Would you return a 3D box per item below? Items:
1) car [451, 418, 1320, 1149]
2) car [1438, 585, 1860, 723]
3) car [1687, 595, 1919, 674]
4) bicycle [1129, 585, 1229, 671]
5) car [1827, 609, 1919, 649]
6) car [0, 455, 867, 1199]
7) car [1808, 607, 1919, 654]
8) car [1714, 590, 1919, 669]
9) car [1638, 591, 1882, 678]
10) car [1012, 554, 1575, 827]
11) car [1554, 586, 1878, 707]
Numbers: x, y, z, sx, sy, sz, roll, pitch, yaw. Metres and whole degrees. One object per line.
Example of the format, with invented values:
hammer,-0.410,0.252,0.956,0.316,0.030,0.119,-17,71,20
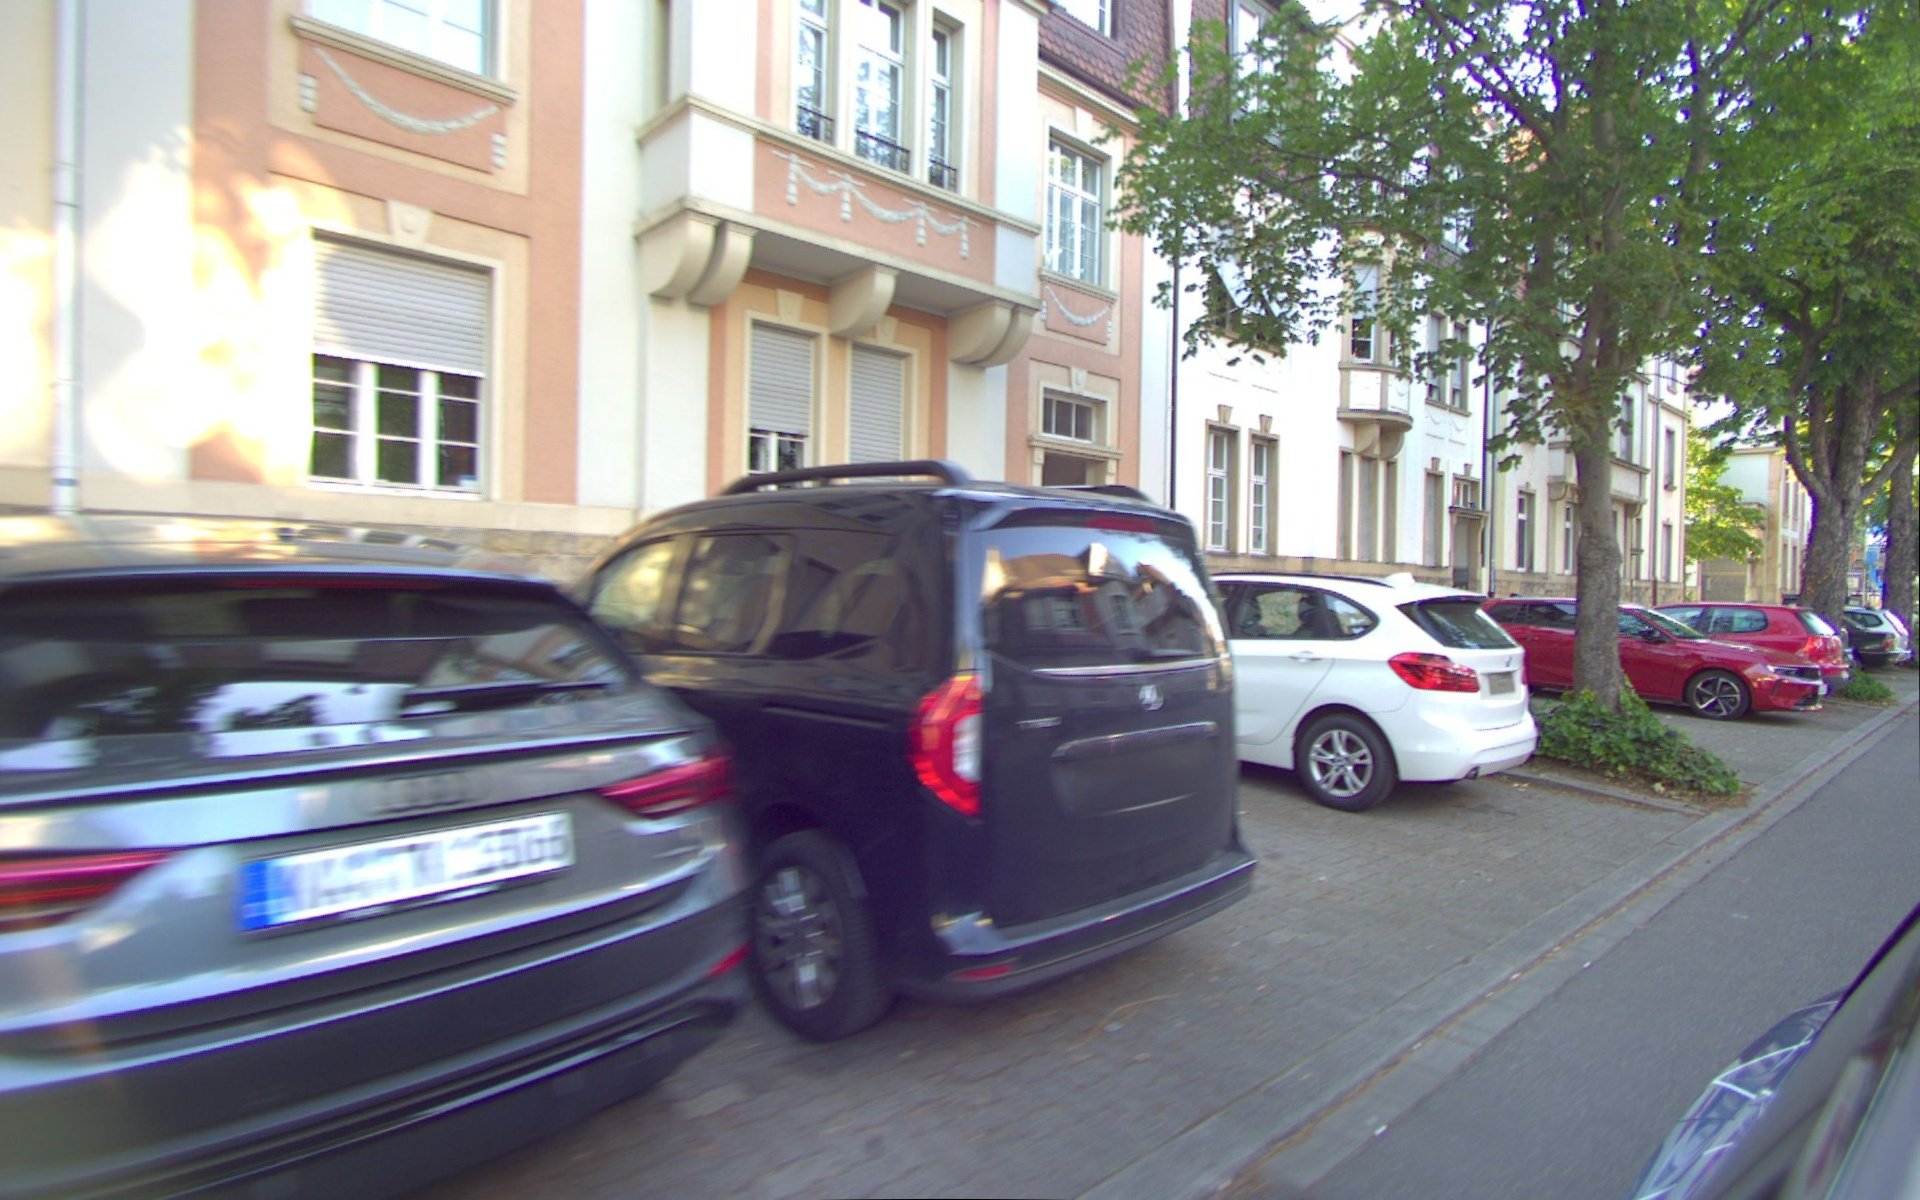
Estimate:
car,-0.727,0.378,4.698,1.814,1.860,4.115,0,2,-43
car,9.417,0.613,14.195,1.834,1.470,4.532,1,2,-39
car,18.423,0.690,22.247,1.548,1.416,3.680,0,2,-40
bicycle,3.251,0.395,14.980,1.449,1.173,0.694,1,3,-42
car,28.599,0.903,30.591,1.515,1.076,3.399,0,2,-40
car,-2.457,0.488,3.201,4.511,1.542,1.815,4,2,45
car,26.230,0.867,28.463,1.515,1.164,3.399,0,2,-40
car,20.311,0.631,23.944,1.548,1.577,3.680,1,2,-40
car,16.347,0.637,20.814,1.548,1.484,3.680,1,2,-40
car,2.418,0.480,8.113,1.689,1.597,3.947,0,2,-42
car,11.480,0.613,15.570,1.628,1.499,3.681,1,2,-39
